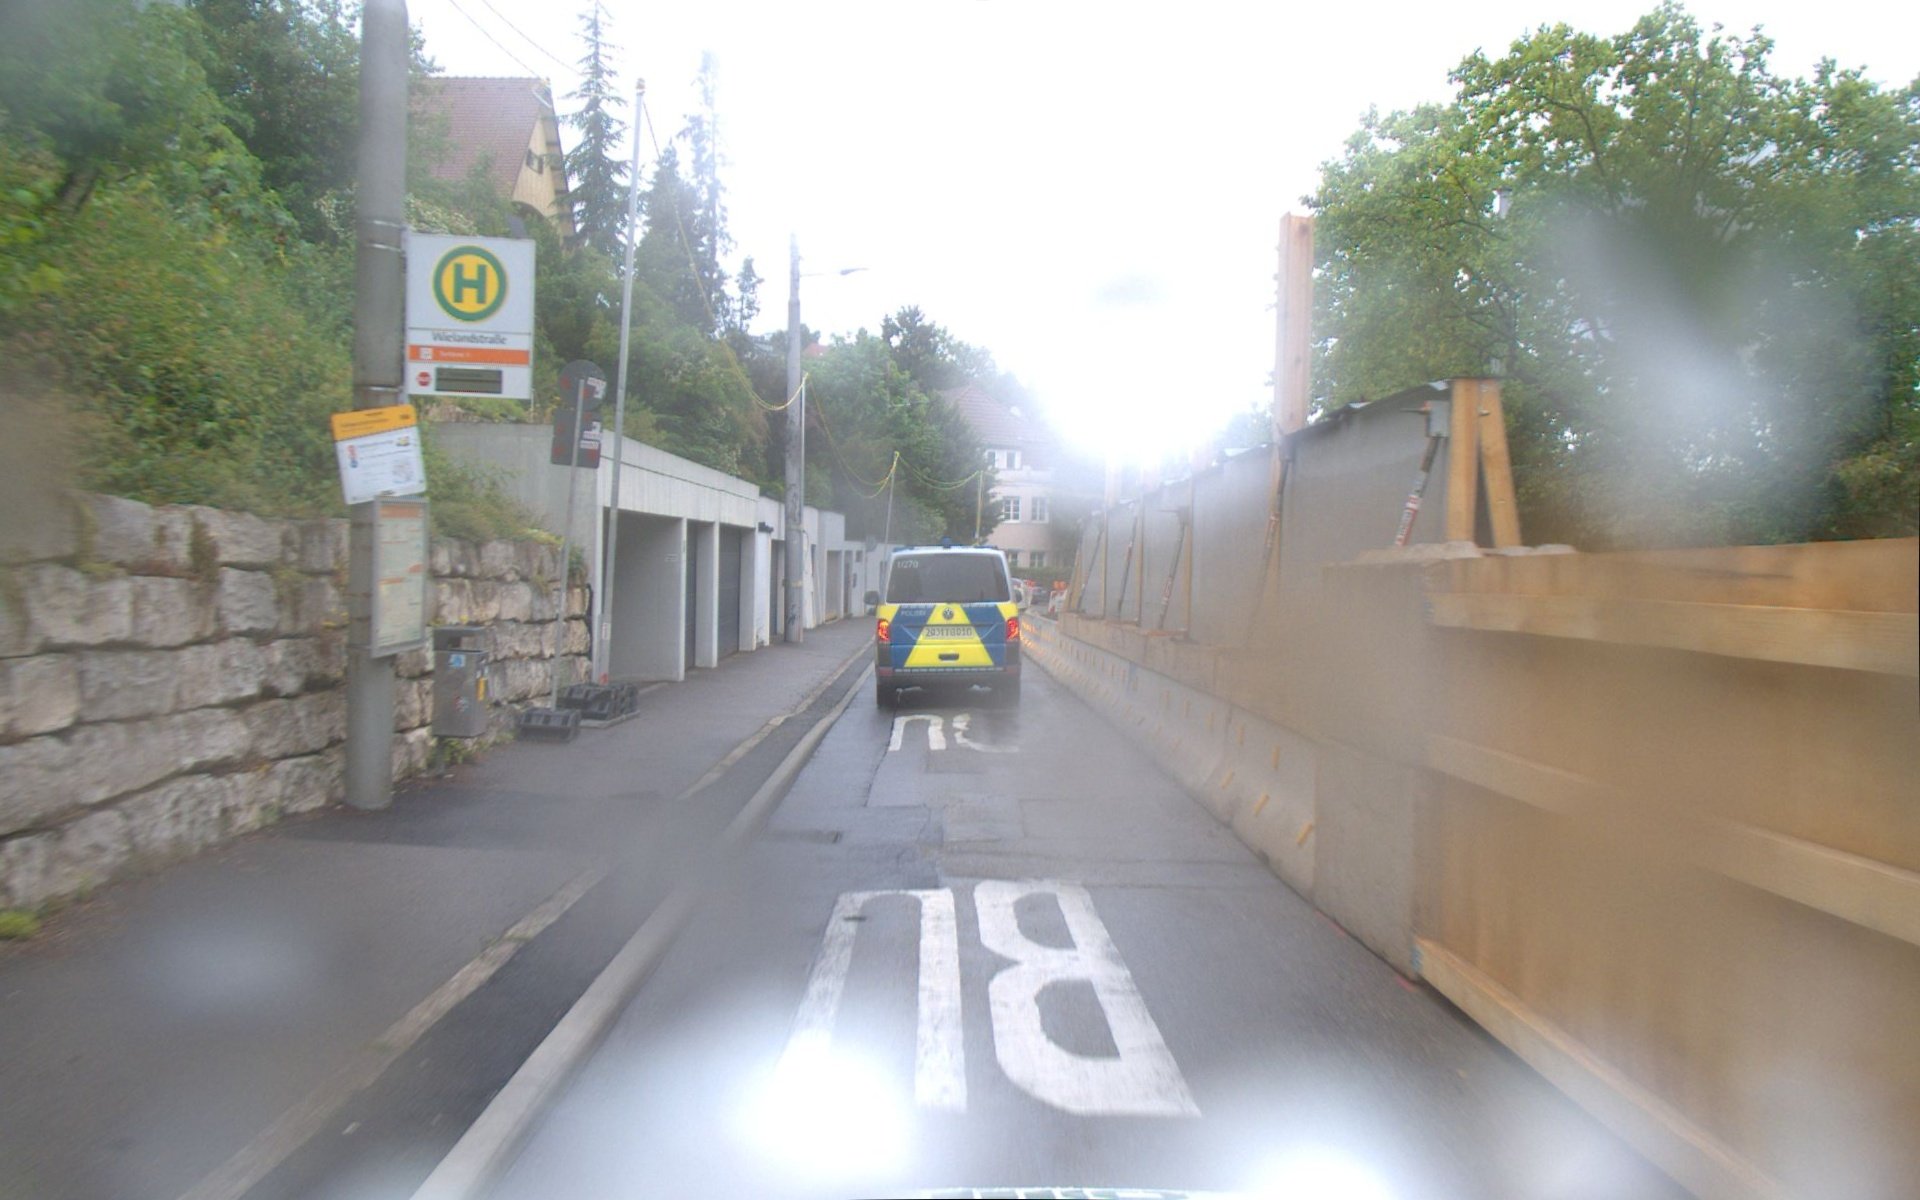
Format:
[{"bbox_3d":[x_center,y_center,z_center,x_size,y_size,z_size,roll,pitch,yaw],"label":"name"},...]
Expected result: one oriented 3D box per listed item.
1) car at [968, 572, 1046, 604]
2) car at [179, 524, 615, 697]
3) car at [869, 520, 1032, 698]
[{"bbox_3d":[2.572,-0.656,90.491,3.913,1.544,1.725,2,0,30],"label":"car"},{"bbox_3d":[-6.423,0.120,19.322,4.312,1.735,2.110,2,0,-2],"label":"car"},{"bbox_3d":[-0.149,0.107,21.968,1.869,2.045,4.439,2,0,-1],"label":"car"}]
